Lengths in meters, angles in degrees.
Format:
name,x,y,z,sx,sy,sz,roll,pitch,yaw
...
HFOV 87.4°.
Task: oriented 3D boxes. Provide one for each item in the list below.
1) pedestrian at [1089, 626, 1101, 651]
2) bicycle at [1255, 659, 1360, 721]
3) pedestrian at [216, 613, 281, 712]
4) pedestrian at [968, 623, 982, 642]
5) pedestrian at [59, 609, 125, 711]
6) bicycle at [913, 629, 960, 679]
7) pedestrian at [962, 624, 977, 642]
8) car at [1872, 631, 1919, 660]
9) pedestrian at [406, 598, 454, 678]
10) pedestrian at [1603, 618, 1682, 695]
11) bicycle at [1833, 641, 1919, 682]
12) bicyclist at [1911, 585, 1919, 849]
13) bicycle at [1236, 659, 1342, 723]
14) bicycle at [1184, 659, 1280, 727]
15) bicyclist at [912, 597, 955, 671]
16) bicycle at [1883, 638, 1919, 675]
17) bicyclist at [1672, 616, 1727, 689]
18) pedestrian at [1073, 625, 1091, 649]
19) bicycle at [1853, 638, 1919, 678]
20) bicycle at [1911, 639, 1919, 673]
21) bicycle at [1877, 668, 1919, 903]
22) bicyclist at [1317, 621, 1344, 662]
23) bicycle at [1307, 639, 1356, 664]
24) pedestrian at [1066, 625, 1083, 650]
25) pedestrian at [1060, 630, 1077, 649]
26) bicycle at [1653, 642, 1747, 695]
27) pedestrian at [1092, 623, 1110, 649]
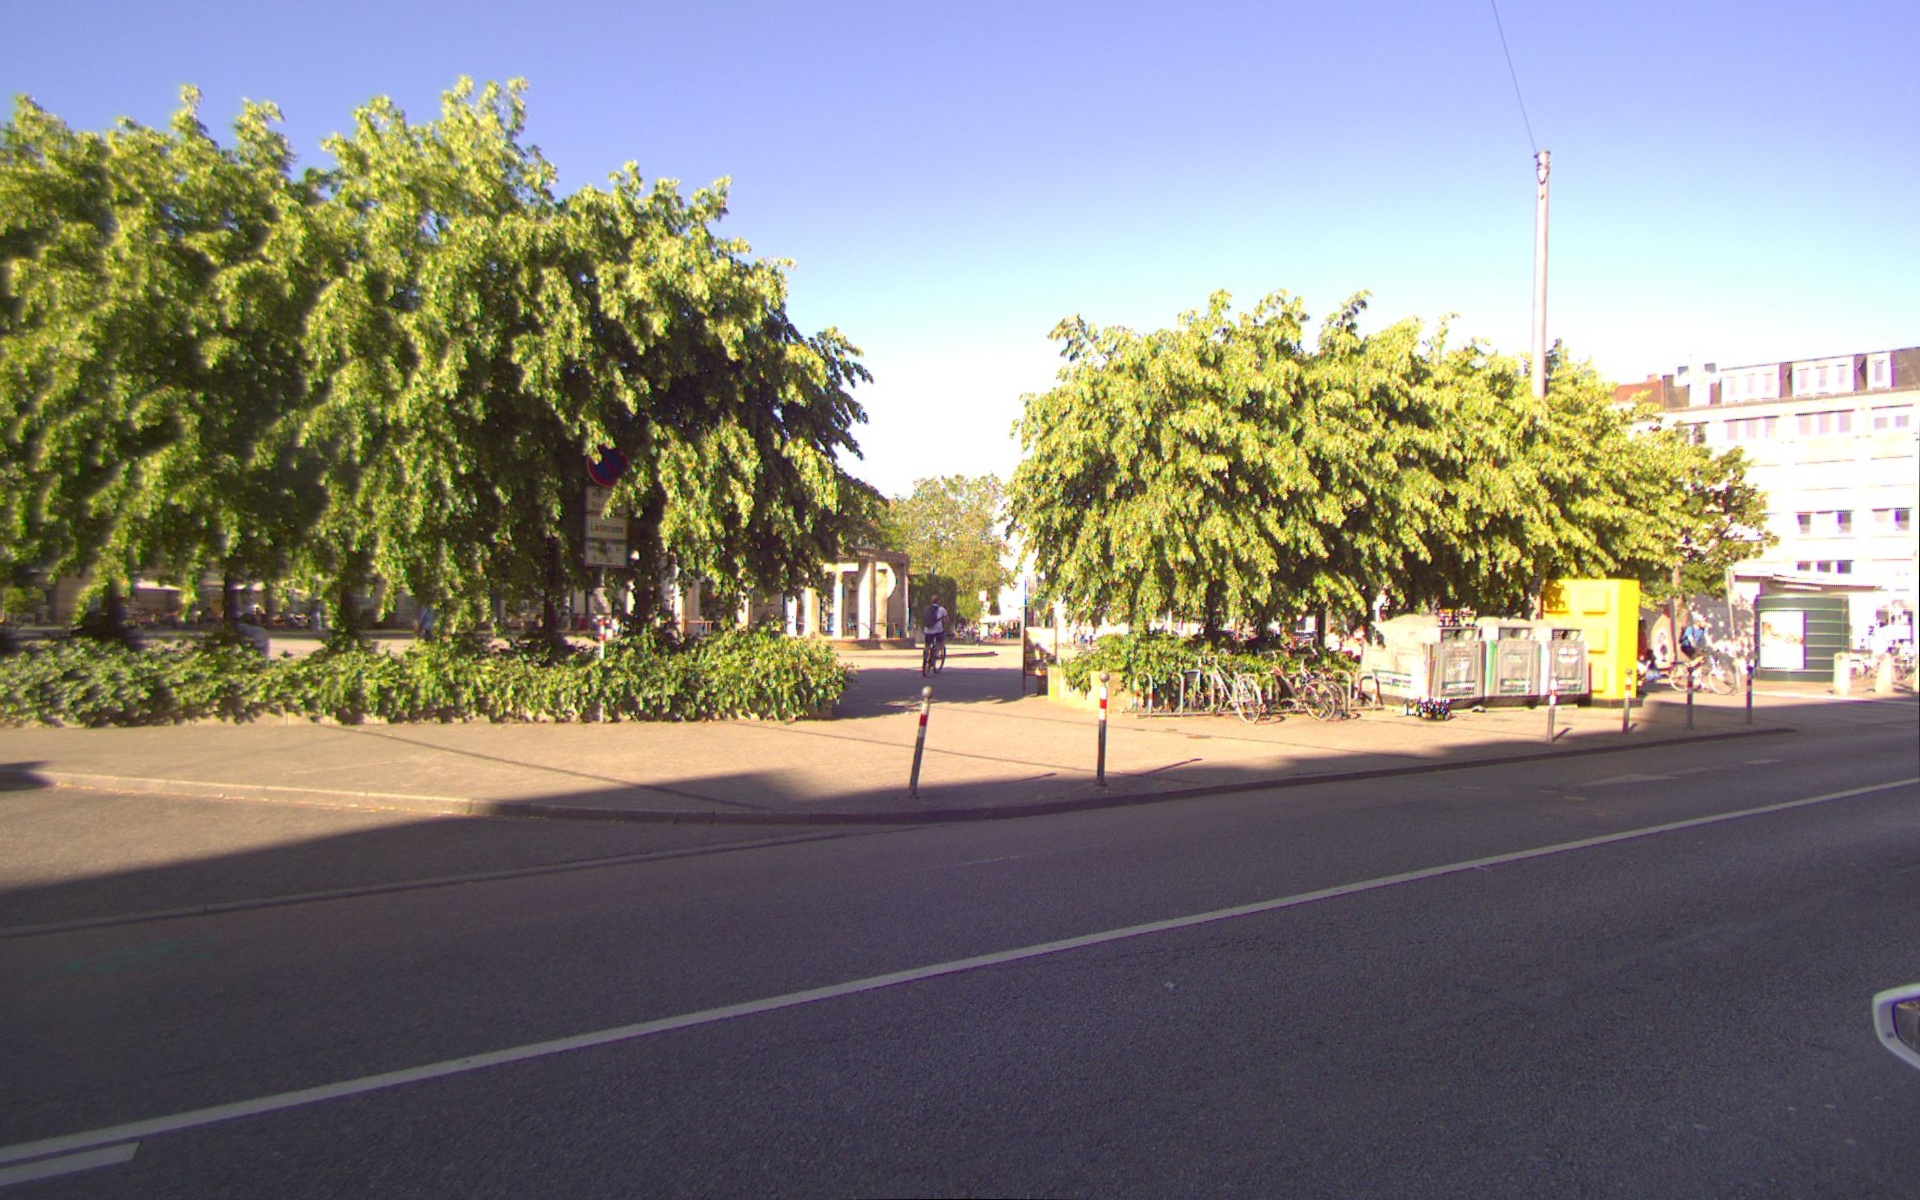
name,x,y,z,sx,sy,sz,roll,pitch,yaw
pedestrian,8.763,2.501,65.269,0.761,1.541,0.838,2,0,6
bicycle,5.678,1.452,16.488,0.465,0.870,1.654,2,0,-35
pedestrian,-10.847,0.932,15.309,0.581,1.456,0.615,2,0,33
pedestrian,1.272,2.771,84.576,0.867,1.557,0.894,2,0,33
pedestrian,-12.854,0.870,14.892,0.615,1.456,0.647,2,0,-32
bicycle,-0.555,1.291,24.422,0.593,1.116,1.990,2,0,14
pedestrian,0.835,2.808,85.328,0.866,1.497,0.942,2,0,36
car,53.795,2.581,56.171,4.071,1.550,1.544,0,-1,40
pedestrian,-10.551,0.741,19.989,0.688,1.541,0.676,2,0,-41
pedestrian,16.118,1.312,23.738,1.045,1.742,1.108,2,0,-19
bicycle,31.225,2.062,33.771,0.932,1.211,2.645,2,0,-32
bicyclist,6.006,0.680,5.702,0.946,1.504,0.603,2,0,-29
bicycle,5.279,1.441,16.193,0.465,0.870,1.659,2,0,-35
bicycle,4.179,1.409,15.534,0.464,0.897,1.558,2,0,-29
bicyclist,-0.626,0.809,24.109,0.772,1.722,0.896,2,0,14
bicycle,35.266,2.083,36.140,0.932,1.287,2.859,2,0,-32
bicyclist,18.191,1.279,24.726,0.691,1.732,0.808,2,0,-10
pedestrian,8.411,2.547,69.225,1.003,1.541,1.036,2,0,15
bicycle,33.147,2.039,35.074,0.923,1.291,2.764,2,0,-32
bicycle,37.250,2.154,37.284,0.932,1.276,2.648,2,0,-32
bicycle,6.078,1.031,5.739,1.976,1.239,0.625,2,0,-29
bicyclist,12.900,1.431,34.947,0.566,1.399,0.706,2,-3,-17
bicycle,12.901,1.789,34.924,0.571,0.834,1.853,1,-3,-17
pedestrian,7.558,2.470,66.379,0.904,1.541,0.936,2,0,15
pedestrian,7.408,2.684,68.627,0.853,1.230,0.897,2,0,35
bicycle,18.170,1.658,24.726,0.607,1.178,1.954,2,0,-10
pedestrian,10.401,2.636,74.165,1.274,1.867,1.102,1,1,6
